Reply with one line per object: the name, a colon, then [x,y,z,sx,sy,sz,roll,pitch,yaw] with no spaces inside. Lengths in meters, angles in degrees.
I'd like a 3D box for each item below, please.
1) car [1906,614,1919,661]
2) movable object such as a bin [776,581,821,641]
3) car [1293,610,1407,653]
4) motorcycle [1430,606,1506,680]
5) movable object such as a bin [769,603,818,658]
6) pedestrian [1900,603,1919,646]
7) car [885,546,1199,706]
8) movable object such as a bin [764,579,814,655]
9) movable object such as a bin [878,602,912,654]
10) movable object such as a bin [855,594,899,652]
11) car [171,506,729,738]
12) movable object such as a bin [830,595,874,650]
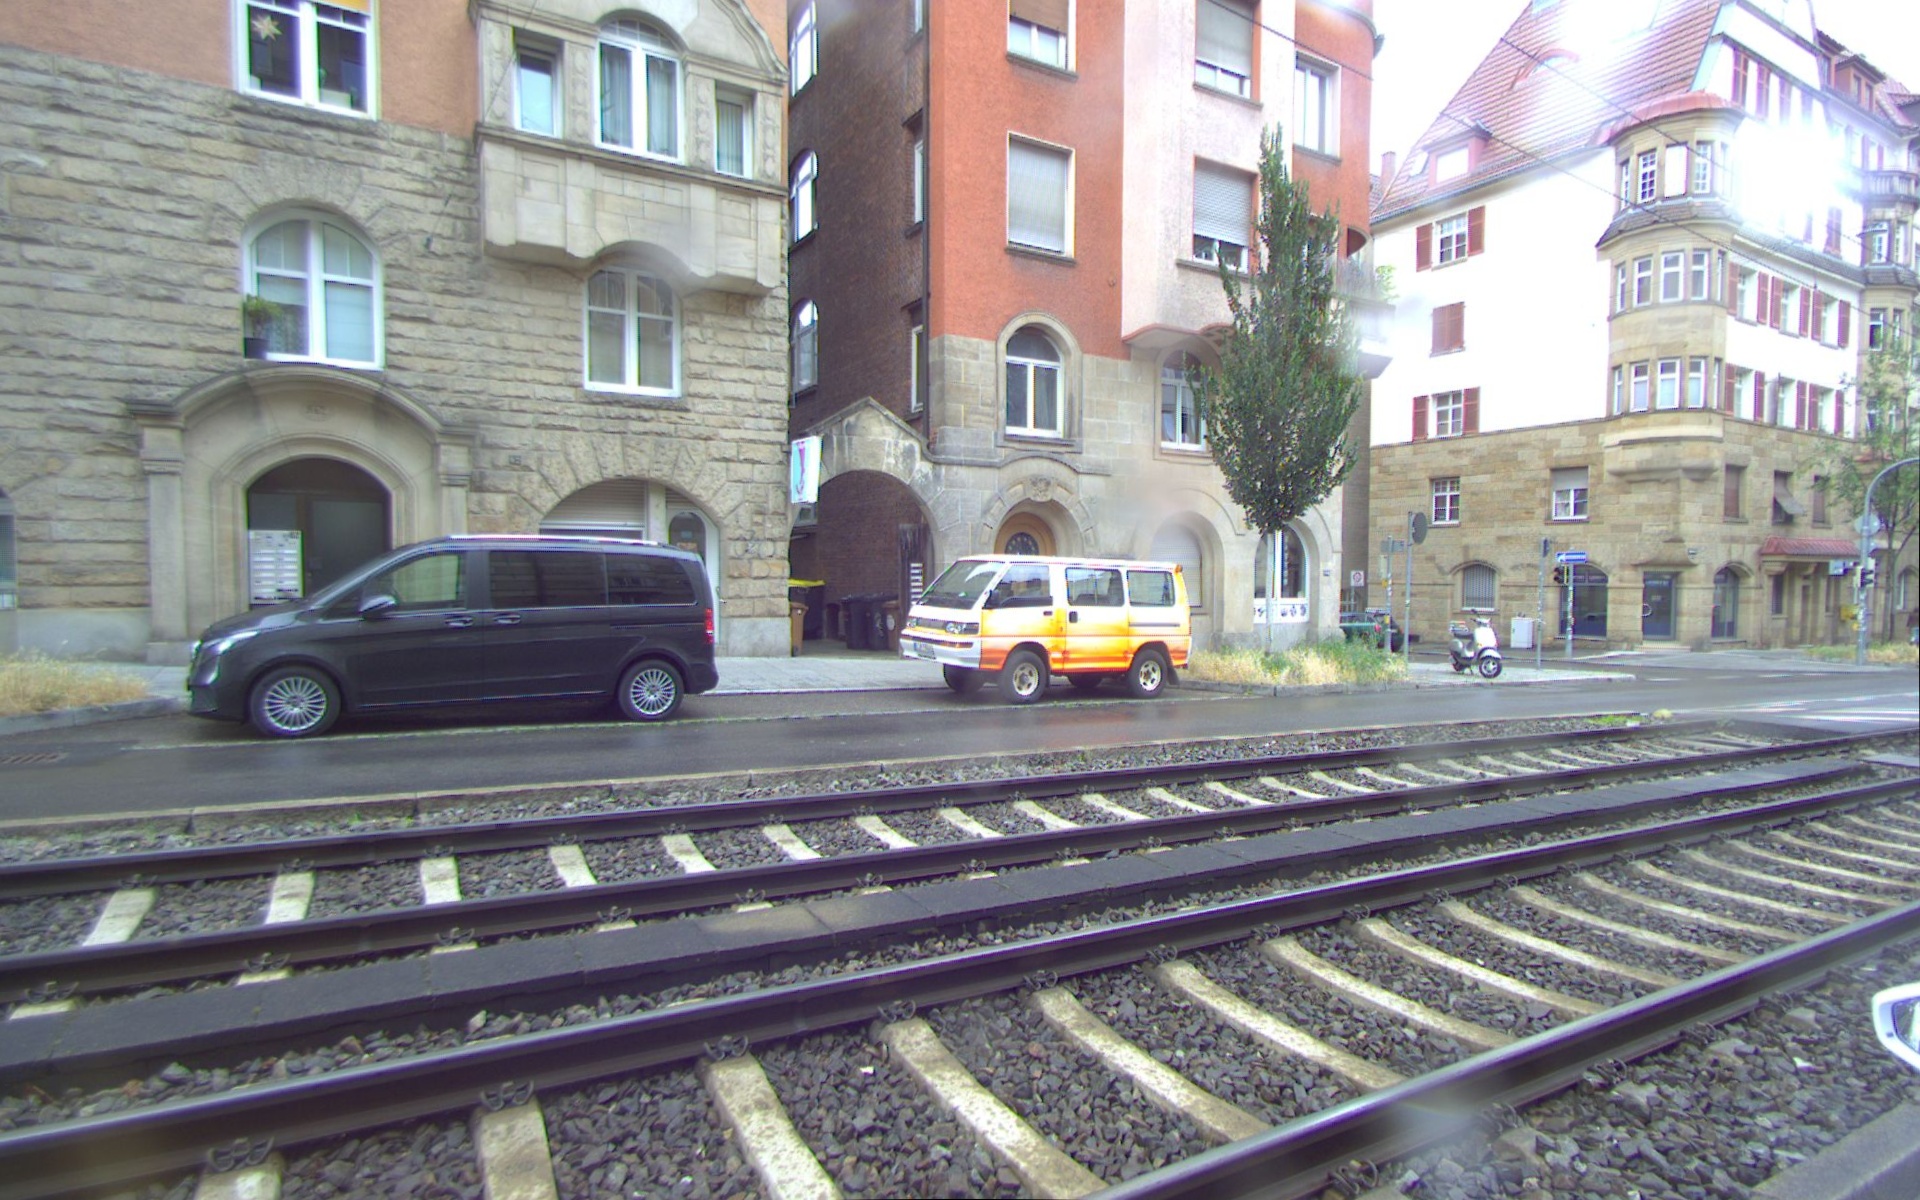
car: [34.135,1.336,34.335,3.994,1.573,1.741,2,0,-34]
movable object such as a bin: [-3.644,0.237,22.640,0.676,1.324,1.154,1,1,-26]
car: [14.428,1.158,37.326,1.683,1.423,3.618,2,0,-34]
motorcycle: [10.072,0.831,19.983,0.612,1.384,1.596,2,0,-3]
movable object such as a bin: [-2.925,0.521,17.574,0.627,0.918,0.793,1,1,-27]
pedestrian: [37.897,0.962,39.927,0.696,1.695,0.626,2,0,-38]
car: [1.242,0.375,14.423,4.295,2.001,1.721,2,0,-32]
movable object such as a bin: [-3.140,0.300,18.447,0.648,1.360,0.903,1,1,-27]
movable object such as a bin: [-1.207,0.514,18.615,0.442,0.957,0.557,1,-1,-27]
movable object such as a bin: [-1.579,0.439,19.123,0.607,1.090,0.679,1,-1,-27]
car: [-5.085,0.249,10.578,4.769,1.968,1.984,2,0,-30]
movable object such as a bin: [-2.117,0.444,19.669,0.607,1.052,0.793,1,-1,-27]
